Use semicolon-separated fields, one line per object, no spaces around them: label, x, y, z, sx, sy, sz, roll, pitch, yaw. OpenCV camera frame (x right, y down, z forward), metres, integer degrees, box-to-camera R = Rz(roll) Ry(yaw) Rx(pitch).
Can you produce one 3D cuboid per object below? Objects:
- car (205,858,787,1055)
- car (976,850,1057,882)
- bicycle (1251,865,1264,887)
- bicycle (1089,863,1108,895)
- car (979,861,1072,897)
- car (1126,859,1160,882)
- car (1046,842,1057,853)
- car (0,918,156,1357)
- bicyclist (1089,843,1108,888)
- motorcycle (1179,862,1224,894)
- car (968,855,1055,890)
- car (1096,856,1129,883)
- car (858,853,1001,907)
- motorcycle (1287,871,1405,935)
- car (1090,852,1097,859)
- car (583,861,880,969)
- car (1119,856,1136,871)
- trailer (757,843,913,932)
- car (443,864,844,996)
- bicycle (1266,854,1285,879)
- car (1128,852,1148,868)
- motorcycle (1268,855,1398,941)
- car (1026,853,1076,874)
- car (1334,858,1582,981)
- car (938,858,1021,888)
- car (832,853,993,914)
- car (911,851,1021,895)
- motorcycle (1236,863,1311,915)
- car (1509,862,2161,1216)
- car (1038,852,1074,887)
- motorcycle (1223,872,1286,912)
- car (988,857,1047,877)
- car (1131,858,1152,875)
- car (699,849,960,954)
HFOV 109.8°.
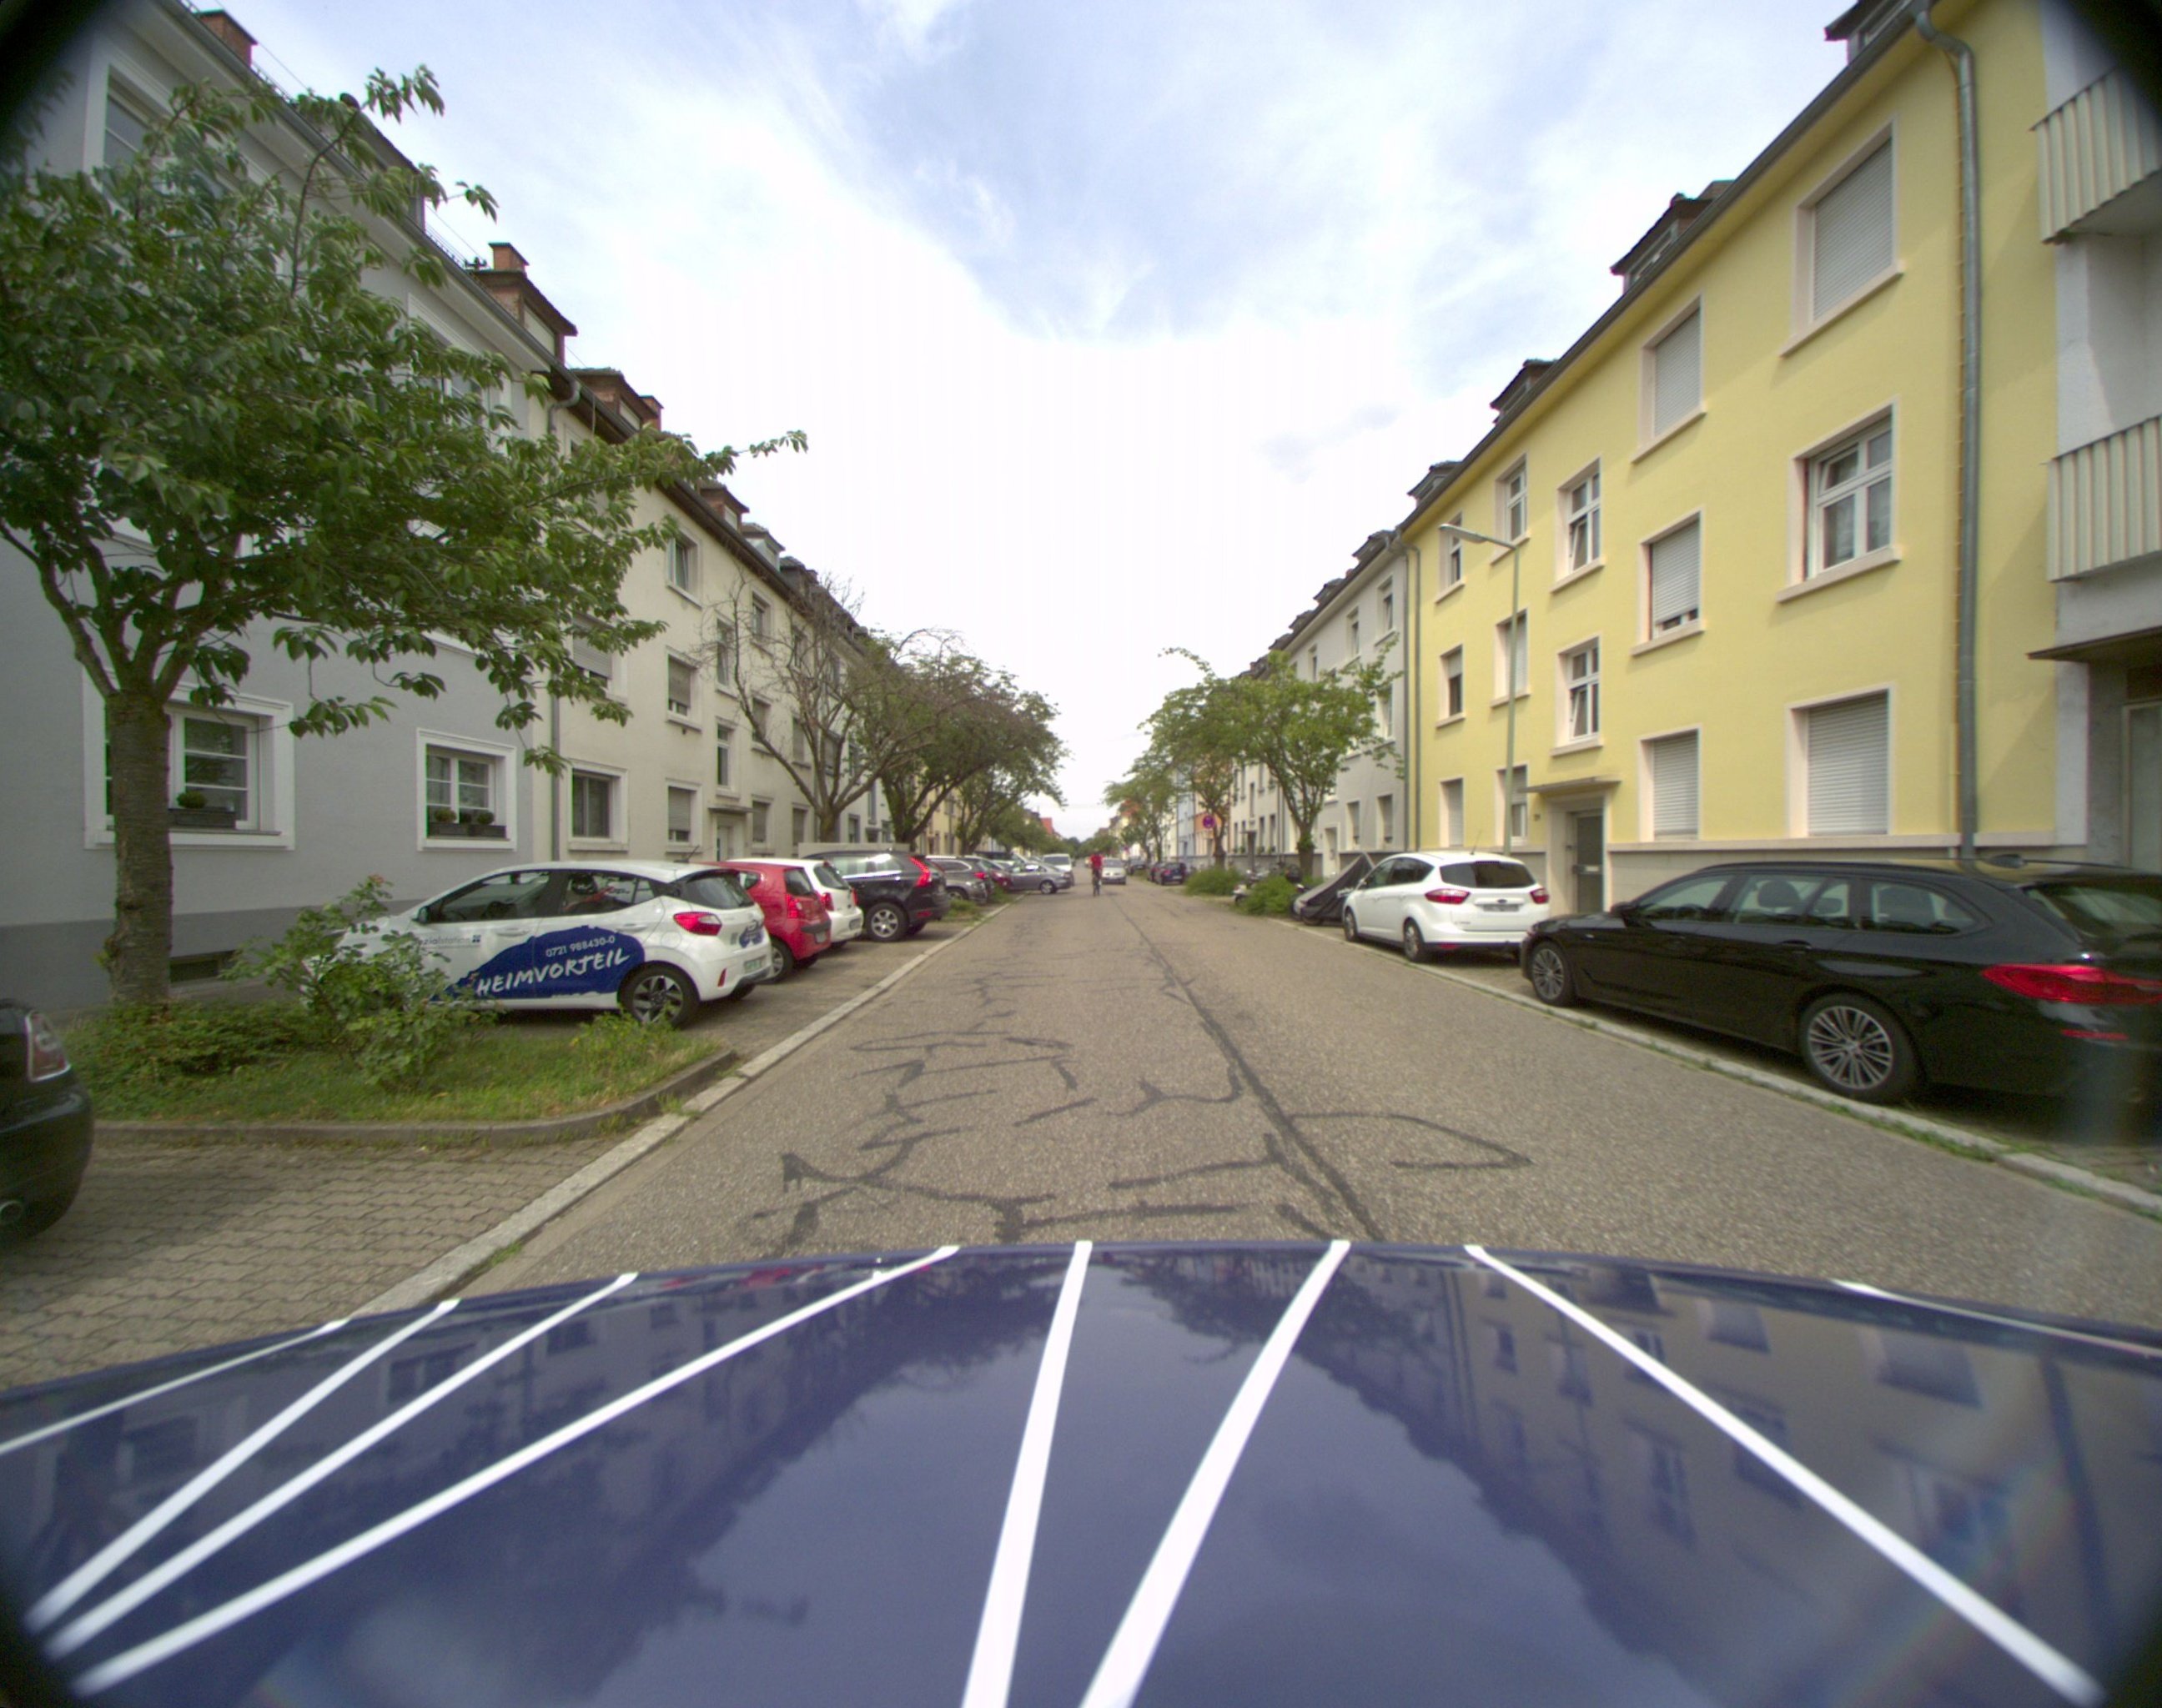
car;-5.109;0.861;7.118;3.998;1.521;1.767;2;0;-3
car;-4.302;0.786;51.101;5.244;2.011;2.072;2;0;-4
bicycle;8.401;1.033;36.186;0.310;0.961;1.434;2;0;1
bicycle;0.707;0.995;30.824;0.693;1.220;1.936;-1;0;0
car;-2.451;1.114;34.124;3.997;1.446;1.766;2;0;0
car;4.258;1.105;52.558;1.841;1.475;4.092;-2;0;-2
car;-5.028;-1.102;129.675;1.646;1.666;3.443;-1;0;0
car;-5.428;0.942;2.071;3.552;1.444;1.809;2;0;-1
bicyclist;0.697;0.464;30.773;0.694;1.760;0.986;-1;1;0
motorcycle;5.438;1.074;34.301;2.022;1.399;0.790;1;1;-37
car;-3.316;0.886;36.668;3.997;1.527;1.638;2;0;0
car;1.891;0.904;46.720;1.788;1.595;4.835;0;0;0
car;-4.813;0.812;24.614;4.226;1.588;1.903;2;0;-2
motorcycle;5.992;1.076;17.283;2.451;1.303;0.644;2;1;20
car;3.514;0.417;214.411;1.757;2.098;3.621;2;0;0
car;-5.299;0.882;11.904;3.757;1.433;1.865;2;0;1
car;5.505;1.093;90.280;1.711;1.591;4.115;2;0;-2
trailer;-5.430;0.705;16.952;2.967;1.820;1.401;2;1;4
car;-5.279;0.892;9.611;3.998;1.402;1.767;2;0;-3
bicycle;8.267;0.523;32.362;0.421;1.001;1.434;2;0;1
car;5.870;0.613;78.546;1.697;1.573;4.248;-1;0;-1
motorcycle;5.282;0.871;16.100;0.941;1.666;2.467;0;0;-43
car;-2.914;0.891;74.596;4.750;1.899;1.850;2;0;0
car;5.552;0.857;11.895;1.761;1.547;4.255;0;0;0
car;-5.208;0.957;39.323;3.997;1.412;1.638;2;0;0
car;-4.768;0.819;21.972;4.226;1.588;1.903;2;0;-2
car;-4.776;0.782;31.958;4.224;1.668;1.904;2;0;2
motorcycle;5.676;1.022;22.313;2.242;1.473;0.595;1;1;-26
car;5.530;0.867;5.849;1.795;1.483;4.811;-1;1;0
car;-1.489;0.863;45.258;1.999;1.903;4.703;-2;0;-2
motorcycle;5.381;1.171;23.548;1.915;1.185;0.595;1;1;-26
car;-4.988;1.025;60.444;4.559;1.501;1.850;2;0;-2
car;5.717;1.158;72.088;1.706;1.533;4.249;0;0;1
car;-4.603;0.838;14.351;4.224;1.725;1.904;2;0;2
